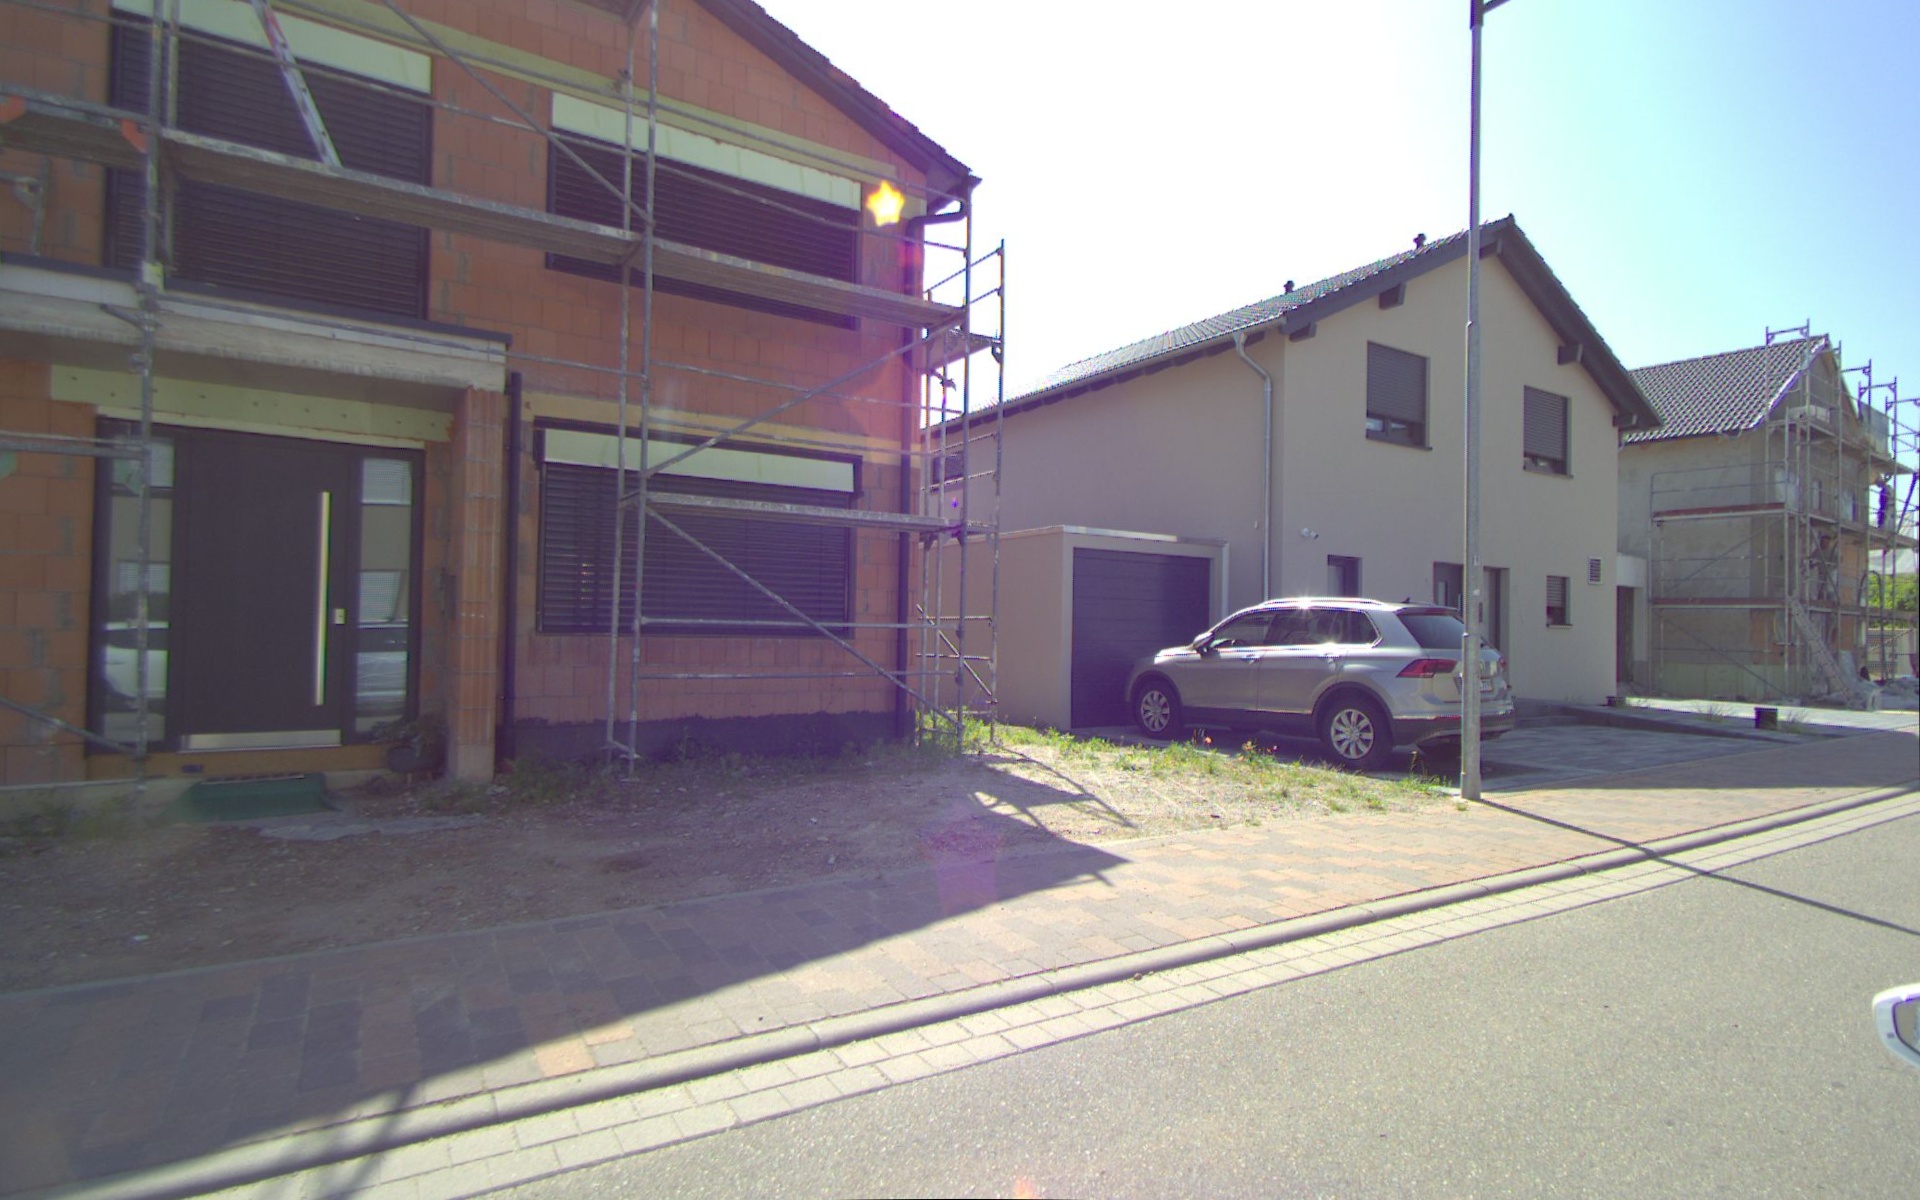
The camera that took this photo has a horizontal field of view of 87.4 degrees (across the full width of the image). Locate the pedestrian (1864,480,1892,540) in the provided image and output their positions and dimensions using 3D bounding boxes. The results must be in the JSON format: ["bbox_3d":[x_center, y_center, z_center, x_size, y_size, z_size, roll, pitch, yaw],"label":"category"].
[{"bbox_3d":[25.325,-2.475,27.710,0.744,1.519,0.556,5,-4,-45],"label":"pedestrian"}]

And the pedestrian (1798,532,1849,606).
[{"bbox_3d":[20.682,-0.737,24.059,0.733,1.701,0.579,2,-3,13],"label":"pedestrian"}]

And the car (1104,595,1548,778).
[{"bbox_3d":[3.859,0.838,11.338,1.980,1.633,4.396,2,-2,-35],"label":"car"}]
